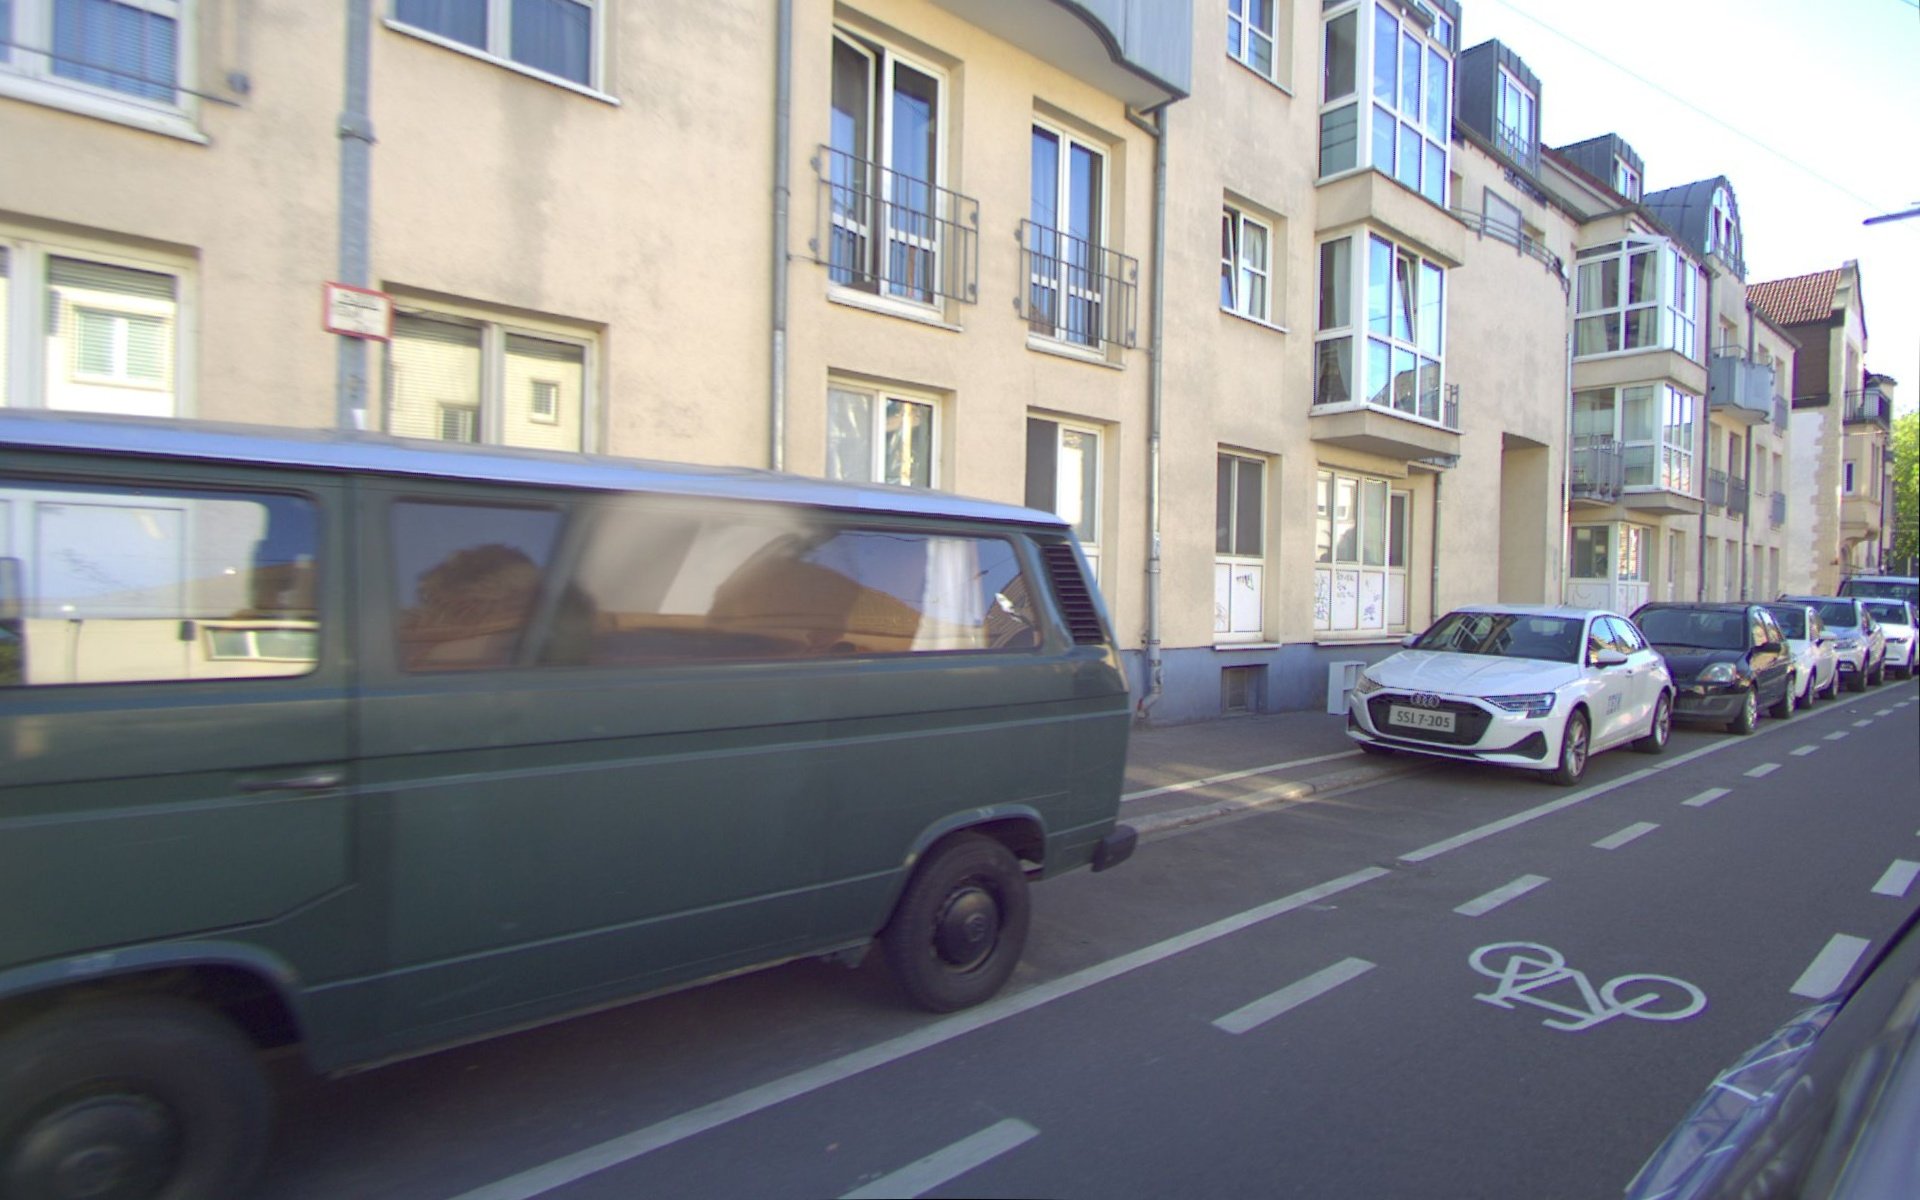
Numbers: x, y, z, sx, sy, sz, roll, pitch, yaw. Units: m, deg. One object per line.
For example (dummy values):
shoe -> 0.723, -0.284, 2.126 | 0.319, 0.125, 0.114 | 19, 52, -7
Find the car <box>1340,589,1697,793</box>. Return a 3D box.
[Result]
car -> 5.360, 0.675, 9.484 | 4.100, 1.510, 1.679 | 0, 0, -42

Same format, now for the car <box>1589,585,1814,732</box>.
car -> 9.335, 0.624, 12.648 | 3.589, 1.577, 1.556 | 0, 0, -42

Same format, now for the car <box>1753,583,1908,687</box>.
car -> 16.086, 0.575, 18.649 | 3.919, 1.721, 1.605 | 0, 0, -41

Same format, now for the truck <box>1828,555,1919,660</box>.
truck -> 24.755, 0.167, 26.385 | 6.038, 2.508, 2.300 | 0, 1, -41

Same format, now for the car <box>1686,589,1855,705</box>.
car -> 12.474, 0.647, 15.521 | 3.307, 1.577, 1.498 | 0, 0, -42

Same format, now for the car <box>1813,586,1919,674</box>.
car -> 20.235, 0.601, 22.167 | 4.181, 1.769, 1.742 | 0, 0, -41

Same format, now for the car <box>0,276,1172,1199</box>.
car -> -1.402, 0.408, 3.477 | 4.484, 2.012, 1.908 | 0, 0, -42
